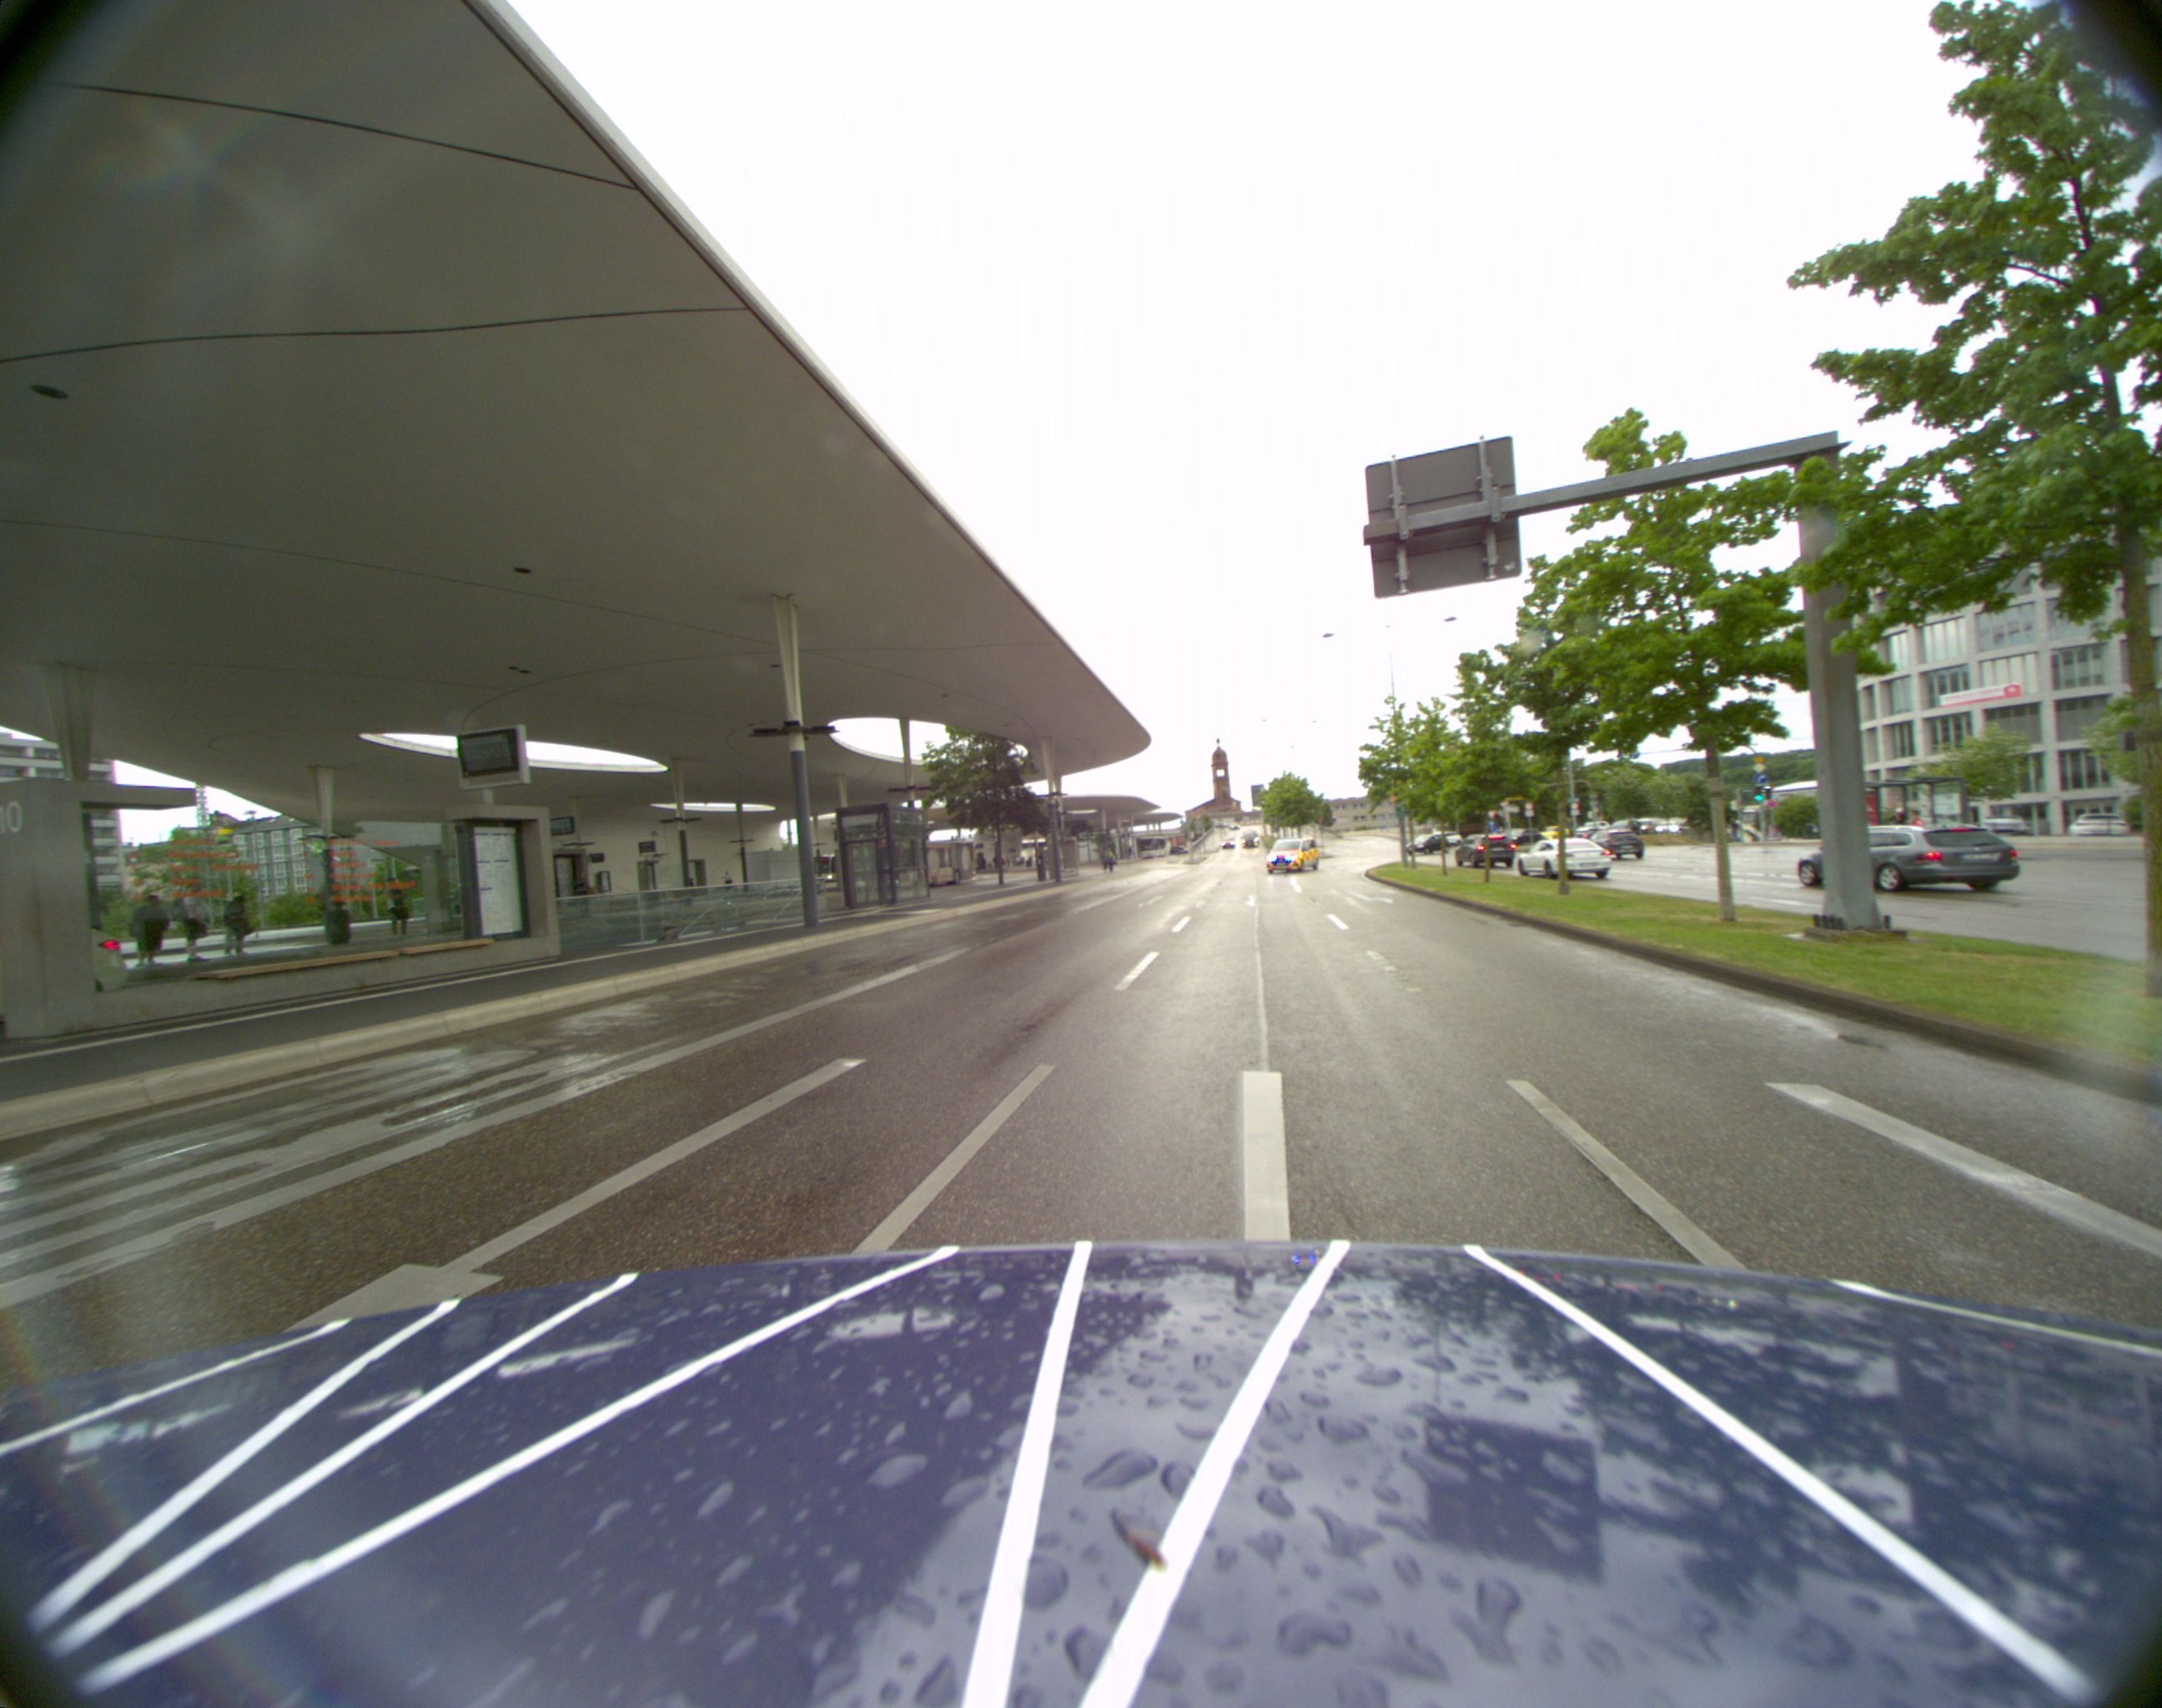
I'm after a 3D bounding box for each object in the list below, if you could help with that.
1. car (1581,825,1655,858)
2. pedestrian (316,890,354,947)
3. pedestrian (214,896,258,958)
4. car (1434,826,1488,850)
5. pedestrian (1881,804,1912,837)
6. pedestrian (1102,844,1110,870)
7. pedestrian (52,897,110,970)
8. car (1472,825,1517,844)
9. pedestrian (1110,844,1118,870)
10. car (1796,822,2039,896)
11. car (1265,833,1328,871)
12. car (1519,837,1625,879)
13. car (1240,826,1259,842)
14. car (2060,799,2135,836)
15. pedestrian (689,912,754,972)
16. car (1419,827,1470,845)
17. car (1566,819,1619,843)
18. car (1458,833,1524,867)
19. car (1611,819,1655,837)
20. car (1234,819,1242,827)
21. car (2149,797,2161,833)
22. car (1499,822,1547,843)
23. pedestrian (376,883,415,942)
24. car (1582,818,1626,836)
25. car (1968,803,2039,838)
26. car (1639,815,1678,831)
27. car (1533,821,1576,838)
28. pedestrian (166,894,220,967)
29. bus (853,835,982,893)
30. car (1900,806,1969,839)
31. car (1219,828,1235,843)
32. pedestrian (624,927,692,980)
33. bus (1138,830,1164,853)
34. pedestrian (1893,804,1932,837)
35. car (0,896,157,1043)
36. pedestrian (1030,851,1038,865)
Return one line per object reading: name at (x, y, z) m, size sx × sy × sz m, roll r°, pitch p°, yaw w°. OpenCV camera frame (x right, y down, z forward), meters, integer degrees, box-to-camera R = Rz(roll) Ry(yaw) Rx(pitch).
car at (27.521, -0.680, 39.076) m, size 1.882 × 1.545 × 4.006 m, roll -2°, pitch 1°, yaw 16°
pedestrian at (-20.482, 1.774, 20.866) m, size 0.478 × 1.505 × 0.526 m, roll -2°, pitch 1°, yaw 17°
pedestrian at (-21.468, 1.848, 19.299) m, size 0.478 × 1.505 × 0.526 m, roll -2°, pitch 1°, yaw 17°
car at (29.873, -1.245, 59.662) m, size 4.163 × 1.692 × 1.872 m, roll -3°, pitch 1°, yaw -32°
pedestrian at (38.251, -1.552, 35.642) m, size 0.732 × 1.482 × 0.735 m, roll -1°, pitch 2°, yaw 21°
pedestrian at (1.779, 0.212, 53.188) m, size 0.445 × 1.754 × 0.537 m, roll -3°, pitch 1°, yaw 6°
pedestrian at (-21.718, 1.717, 16.505) m, size 0.478 × 1.505 × 0.567 m, roll -2°, pitch 1°, yaw 17°
car at (39.803, -1.851, 73.124) m, size 4.163 × 1.692 × 1.872 m, roll -3°, pitch 1°, yaw -31°
pedestrian at (2.275, 0.188, 52.956) m, size 0.445 × 1.754 × 0.537 m, roll -3°, pitch 1°, yaw 6°
car at (19.080, 0.061, 17.672) m, size 1.697 × 1.457 × 4.456 m, roll -2°, pitch 1°, yaw 16°
car at (12.410, -0.164, 43.516) m, size 1.994 × 2.002 × 5.070 m, roll -1°, pitch 1°, yaw 33°
car at (17.699, 0.083, 27.614) m, size 2.008 × 1.345 × 4.168 m, roll -2°, pitch 1°, yaw 14°
car at (22.161, -2.637, 99.969) m, size 1.997 × 2.002 × 4.001 m, roll -2°, pitch 1°, yaw 8°
car at (51.150, -1.831, 38.208) m, size 4.163 × 1.692 × 1.872 m, roll -3°, pitch 1°, yaw -32°
pedestrian at (-8.348, 2.032, 17.666) m, size 0.881 × 1.268 × 0.959 m, roll -2°, pitch 1°, yaw 16°
car at (34.632, -1.718, 72.467) m, size 4.049 × 1.550 × 1.810 m, roll -2°, pitch 1°, yaw -9°
car at (35.526, -1.588, 52.892) m, size 1.882 × 1.545 × 4.005 m, roll -2°, pitch 1°, yaw 16°
car at (20.521, -0.249, 38.219) m, size 2.007 × 1.545 × 4.168 m, roll -2°, pitch 1°, yaw 16°
car at (51.970, -2.451, 71.512) m, size 4.163 × 1.625 × 1.872 m, roll -3°, pitch 1°, yaw -31°
car at (35.242, -6.982, 170.832) m, size 1.548 × 1.552 × 3.651 m, roll -2°, pitch 1°, yaw 8°
car at (52.746, -1.905, 36.219) m, size 4.163 × 1.692 × 1.872 m, roll -3°, pitch 1°, yaw -32°
car at (39.034, -1.873, 67.065) m, size 4.163 × 1.692 × 1.872 m, roll -3°, pitch 1°, yaw -31°
pedestrian at (-18.115, 1.535, 20.091) m, size 0.478 × 1.505 × 0.536 m, roll -2°, pitch 1°, yaw 17°
car at (51.935, -2.646, 75.441) m, size 4.307 × 1.625 × 1.872 m, roll -3°, pitch 1°, yaw -30°
car at (49.522, -1.803, 40.791) m, size 4.163 × 1.692 × 1.872 m, roll -3°, pitch 1°, yaw -32°
car at (62.940, -3.403, 82.796) m, size 4.163 × 1.625 × 1.872 m, roll -3°, pitch 1°, yaw -30°
car at (48.060, -2.478, 77.171) m, size 4.307 × 1.625 × 1.872 m, roll -3°, pitch 1°, yaw -30°
pedestrian at (-18.972, 1.631, 16.239) m, size 0.478 × 1.505 × 0.536 m, roll -2°, pitch 1°, yaw 17°
bus at (-9.722, 0.419, 47.410) m, size 2.873 × 3.065 × 11.931 m, roll -2°, pitch 1°, yaw 13°
car at (48.278, -1.795, 42.970) m, size 4.163 × 1.692 × 1.872 m, roll -3°, pitch 1°, yaw -32°
car at (19.641, -2.470, 102.060) m, size 1.997 × 2.002 × 4.002 m, roll -2°, pitch 1°, yaw 10°
pedestrian at (-9.545, 2.223, 17.174) m, size 0.881 × 1.048 × 0.959 m, roll -2°, pitch 1°, yaw 16°
bus at (10.566, -1.840, 115.450) m, size 3.581 × 3.080 × 10.757 m, roll -3°, pitch 0°, yaw 5°
pedestrian at (37.957, -1.525, 34.675) m, size 0.982 × 1.482 × 0.735 m, roll -1°, pitch 2°, yaw 23°
car at (-14.217, 1.498, 8.431) m, size 1.996 × 1.671 × 4.545 m, roll -2°, pitch 1°, yaw 13°
pedestrian at (-6.788, 0.597, 108.931) m, size 1.025 × 2.002 × 0.879 m, roll -2°, pitch 2°, yaw -7°
